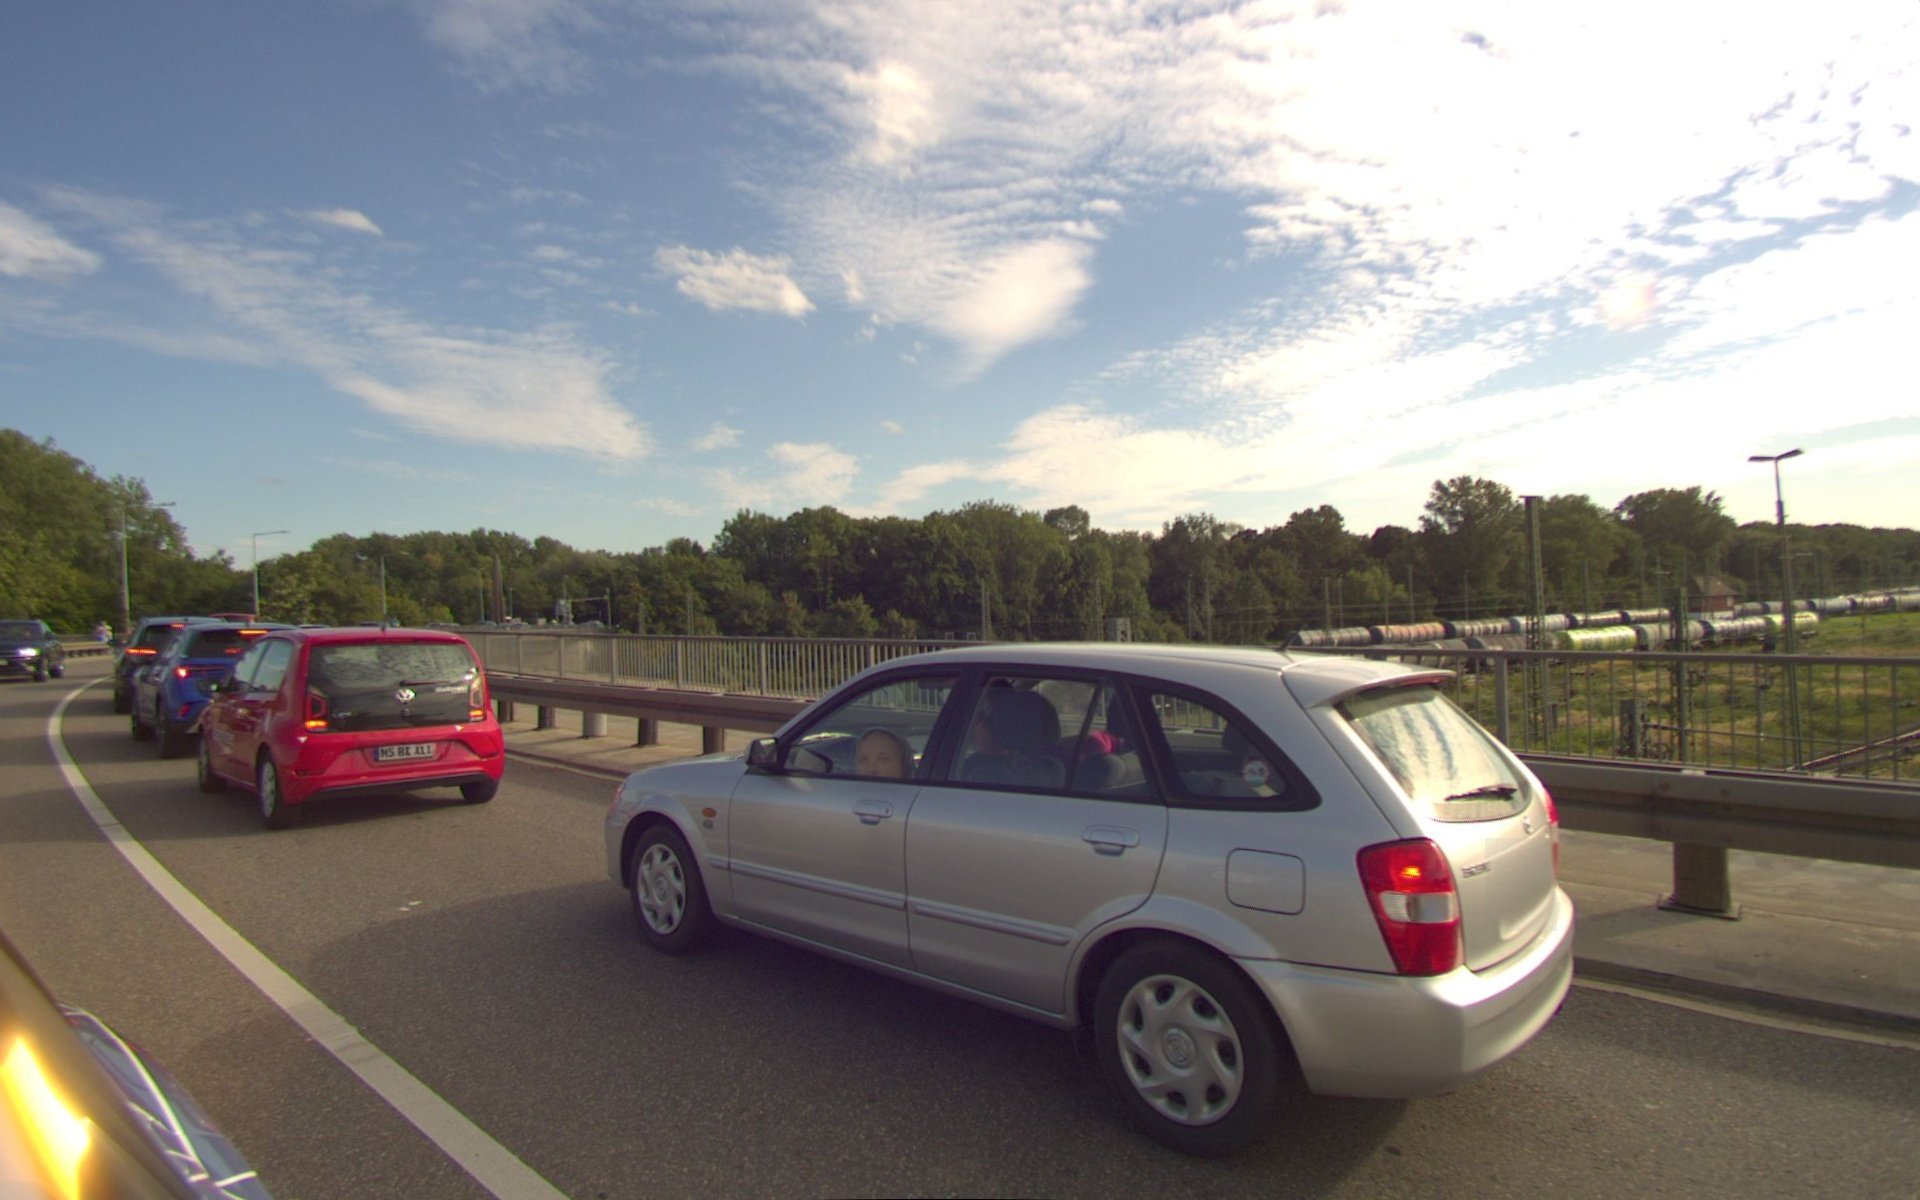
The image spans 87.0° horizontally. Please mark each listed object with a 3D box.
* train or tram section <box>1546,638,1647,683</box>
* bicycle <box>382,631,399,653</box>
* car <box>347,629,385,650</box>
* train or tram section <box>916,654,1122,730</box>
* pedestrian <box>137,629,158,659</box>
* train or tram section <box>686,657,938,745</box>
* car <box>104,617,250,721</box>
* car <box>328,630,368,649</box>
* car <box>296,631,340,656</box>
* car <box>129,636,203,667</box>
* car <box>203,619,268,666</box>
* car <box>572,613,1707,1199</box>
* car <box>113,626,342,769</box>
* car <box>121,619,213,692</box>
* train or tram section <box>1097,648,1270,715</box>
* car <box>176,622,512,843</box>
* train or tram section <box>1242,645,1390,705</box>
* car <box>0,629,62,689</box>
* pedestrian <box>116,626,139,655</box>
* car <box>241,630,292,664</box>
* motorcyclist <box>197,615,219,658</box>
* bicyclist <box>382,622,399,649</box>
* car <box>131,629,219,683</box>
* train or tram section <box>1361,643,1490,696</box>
[{"bbox_3d":[74.698,6.950,118.522,16.465,4.748,3.106,0,-1,-32],"label":"train or tram section"},{"bbox_3d":[-35.757,2.639,63.562,0.753,1.342,1.922,0,-1,-23],"label":"bicycle"},{"bbox_3d":[-44.706,2.934,76.225,1.716,1.512,4.090,0,-2,-19],"label":"car"},{"bbox_3d":[4.681,6.604,74.991,16.465,4.748,3.106,0,-1,-32],"label":"train or tram section"},{"bbox_3d":[-45.490,2.448,56.666,0.667,1.674,0.868,0,-1,-22],"label":"pedestrian"},{"bbox_3d":[-9.313,6.373,66.305,16.465,4.748,3.106,0,-1,-32],"label":"train or tram section"},{"bbox_3d":[-14.510,1.177,18.647,1.901,1.662,4.595,1,-2,-40],"label":"car"},{"bbox_3d":[-51.032,3.263,84.452,1.789,1.519,4.403,0,-2,-16],"label":"car"},{"bbox_3d":[-40.454,2.696,63.868,1.716,1.512,4.090,1,-2,-23],"label":"car"},{"bbox_3d":[-39.523,2.523,50.477,1.788,1.415,4.405,1,-2,-23],"label":"car"},{"bbox_3d":[-31.005,1.792,43.432,1.980,1.918,4.881,1,-2,-33],"label":"car"},{"bbox_3d":[0.276,0.816,4.096,4.264,1.466,1.713,-2,-2,42],"label":"car"},{"bbox_3d":[-9.417,1.098,12.887,1.778,1.531,4.010,1,-2,-44],"label":"car"},{"bbox_3d":[-19.678,1.318,25.143,1.660,1.662,4.306,1,-2,-38],"label":"car"},{"bbox_3d":[18.759,6.560,83.734,16.465,4.748,3.106,0,-1,-32],"label":"train or tram section"},{"bbox_3d":[-5.404,0.939,8.685,3.738,1.475,1.581,-2,-2,44],"label":"car"},{"bbox_3d":[32.730,6.683,92.459,16.465,4.748,3.106,0,-1,-32],"label":"train or tram section"},{"bbox_3d":[-25.426,1.524,27.030,1.790,1.519,4.400,1,-2,-37],"label":"car"},{"bbox_3d":[-45.325,2.199,55.093,0.667,1.555,0.964,0,-1,-22],"label":"pedestrian"},{"bbox_3d":[-35.132,2.356,51.366,1.728,1.622,4.327,1,-2,-29],"label":"car"},{"bbox_3d":[-27.925,1.343,37.592,0.612,1.565,0.940,1,-2,-34],"label":"motorcyclist"},{"bbox_3d":[-35.742,2.207,63.514,0.755,1.673,1.124,0,-1,-23],"label":"bicyclist"},{"bbox_3d":[-23.503,1.627,30.437,1.808,1.477,4.529,1,-2,-35],"label":"car"},{"bbox_3d":[46.682,6.791,101.103,16.465,4.748,3.106,0,-1,-32],"label":"train or tram section"}]
